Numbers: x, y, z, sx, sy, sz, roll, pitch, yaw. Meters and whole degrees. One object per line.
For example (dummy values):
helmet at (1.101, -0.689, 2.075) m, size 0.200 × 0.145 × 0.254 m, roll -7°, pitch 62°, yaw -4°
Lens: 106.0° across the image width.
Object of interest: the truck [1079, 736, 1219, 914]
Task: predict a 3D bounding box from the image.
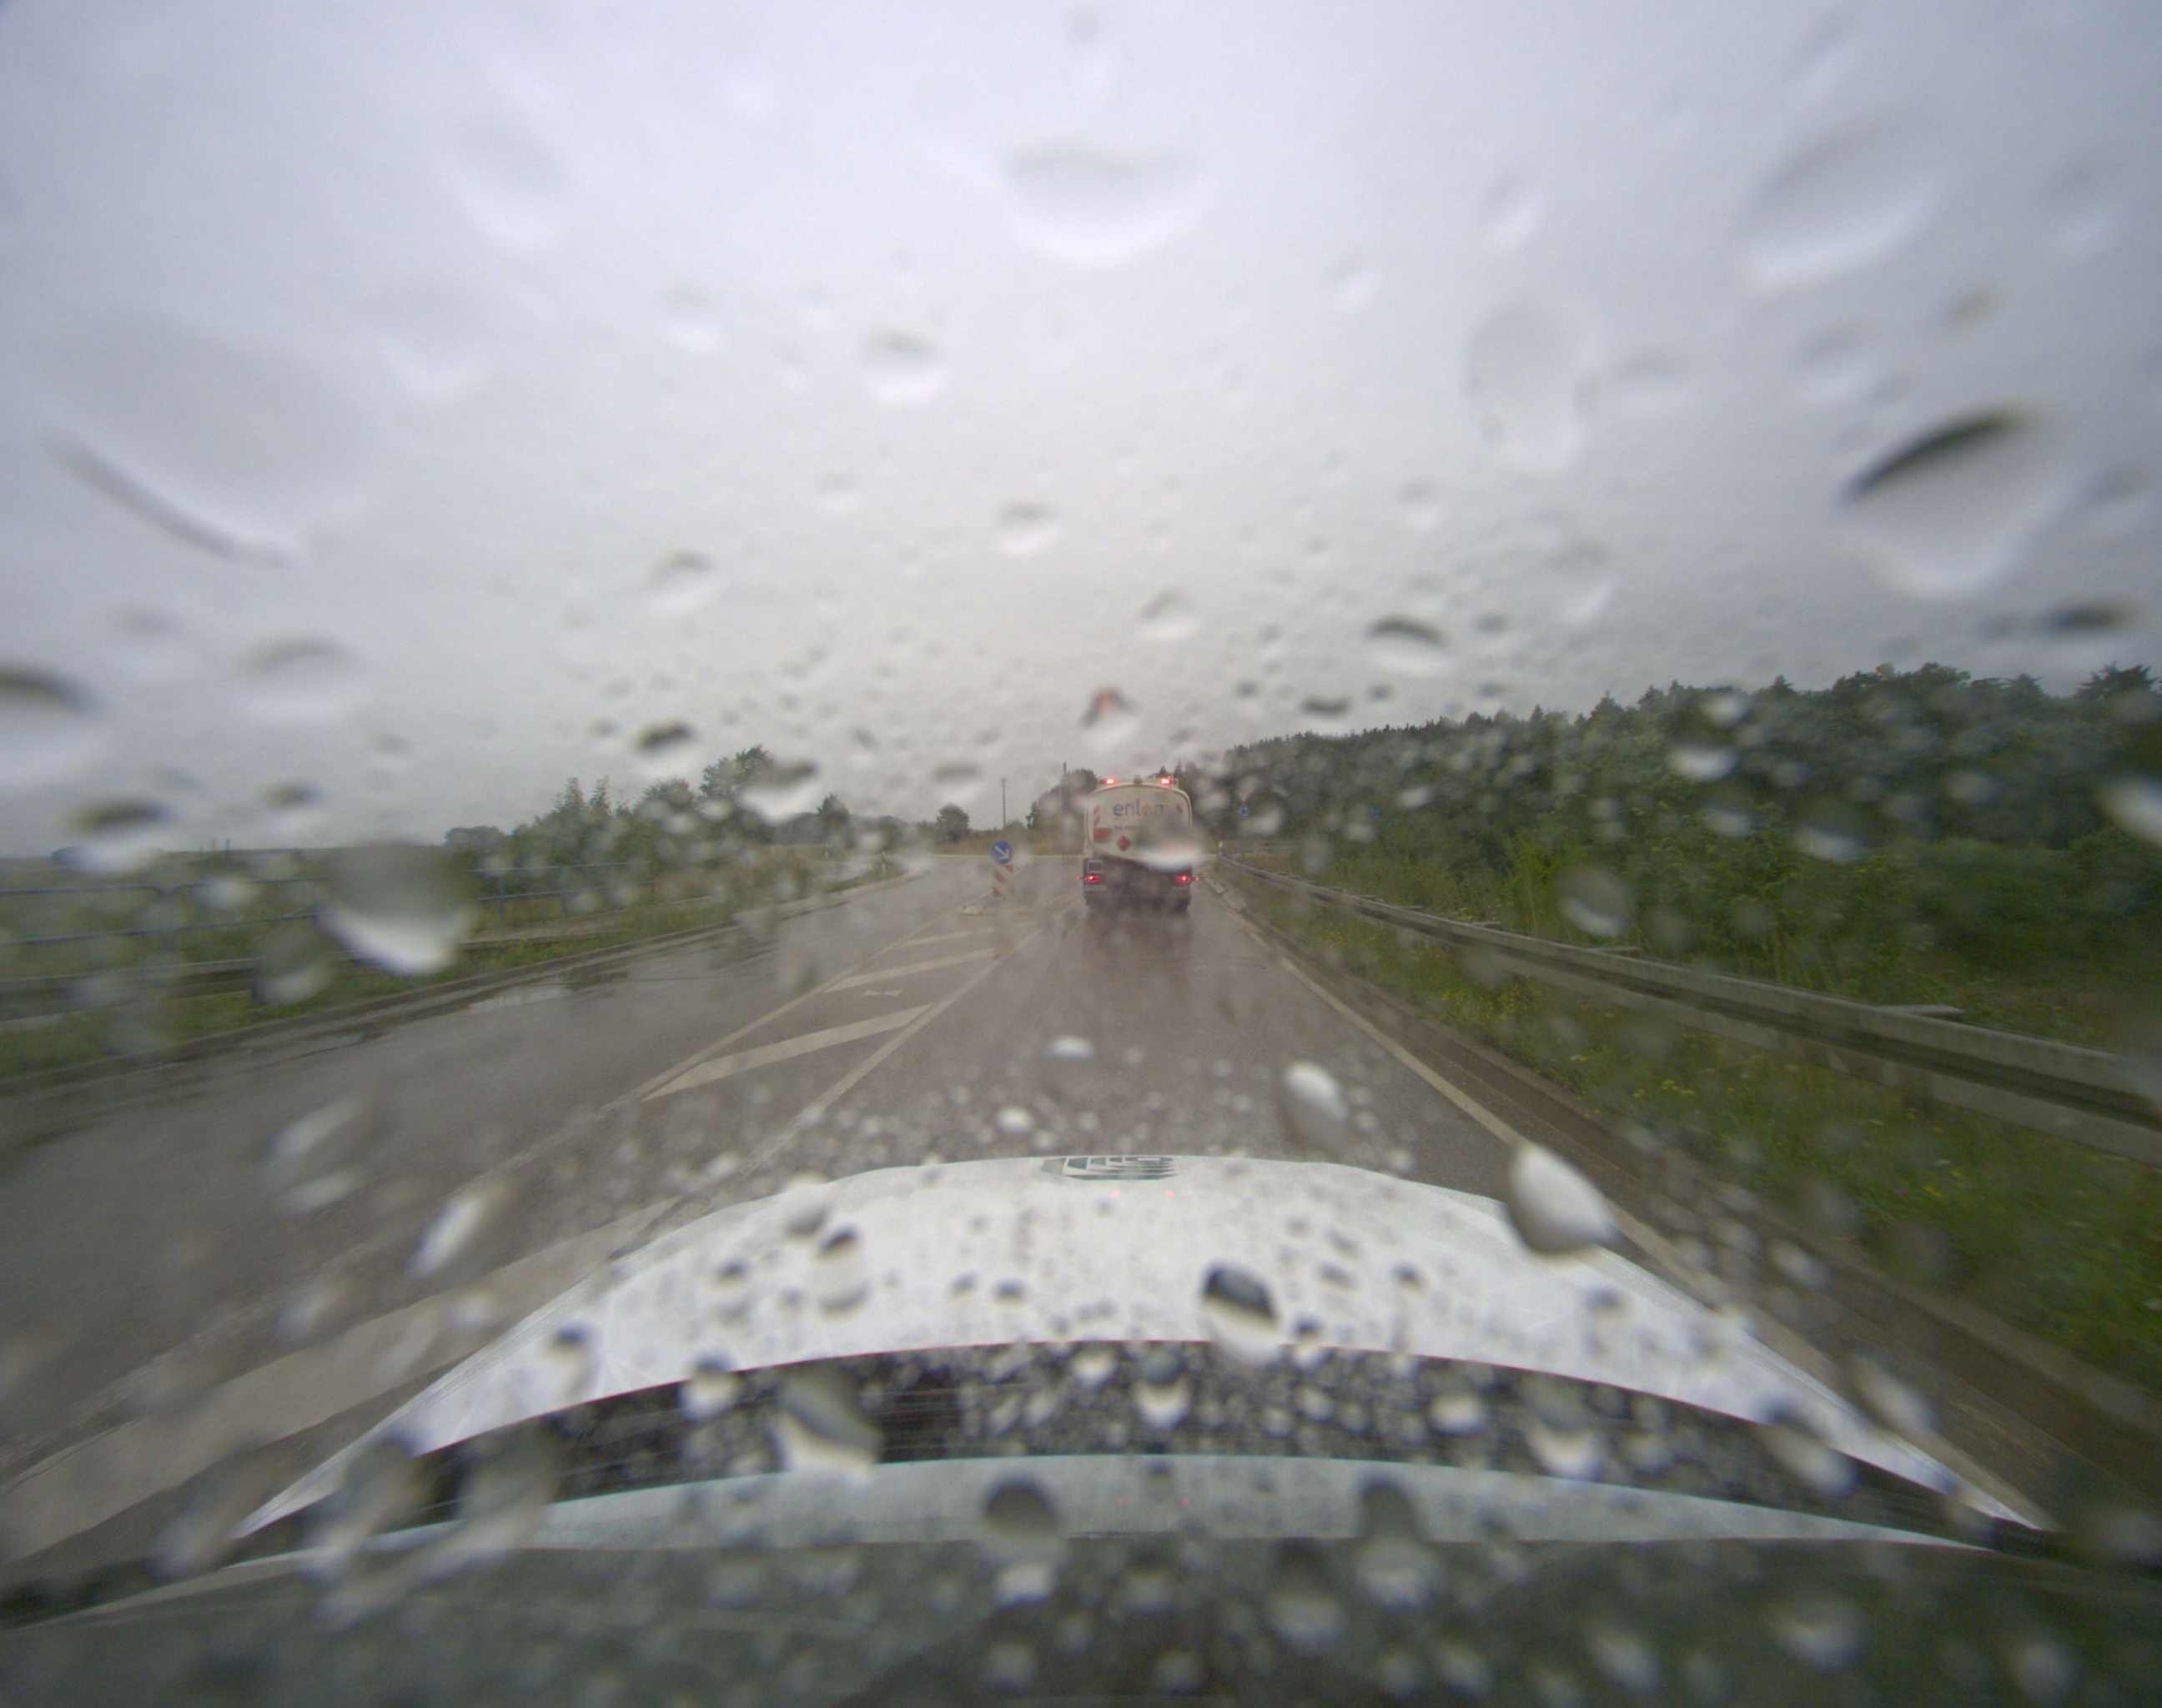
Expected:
truck at (1.826, -0.708, 22.344) m, size 3.025 × 3.851 × 8.833 m, roll -1°, pitch 1°, yaw 4°
